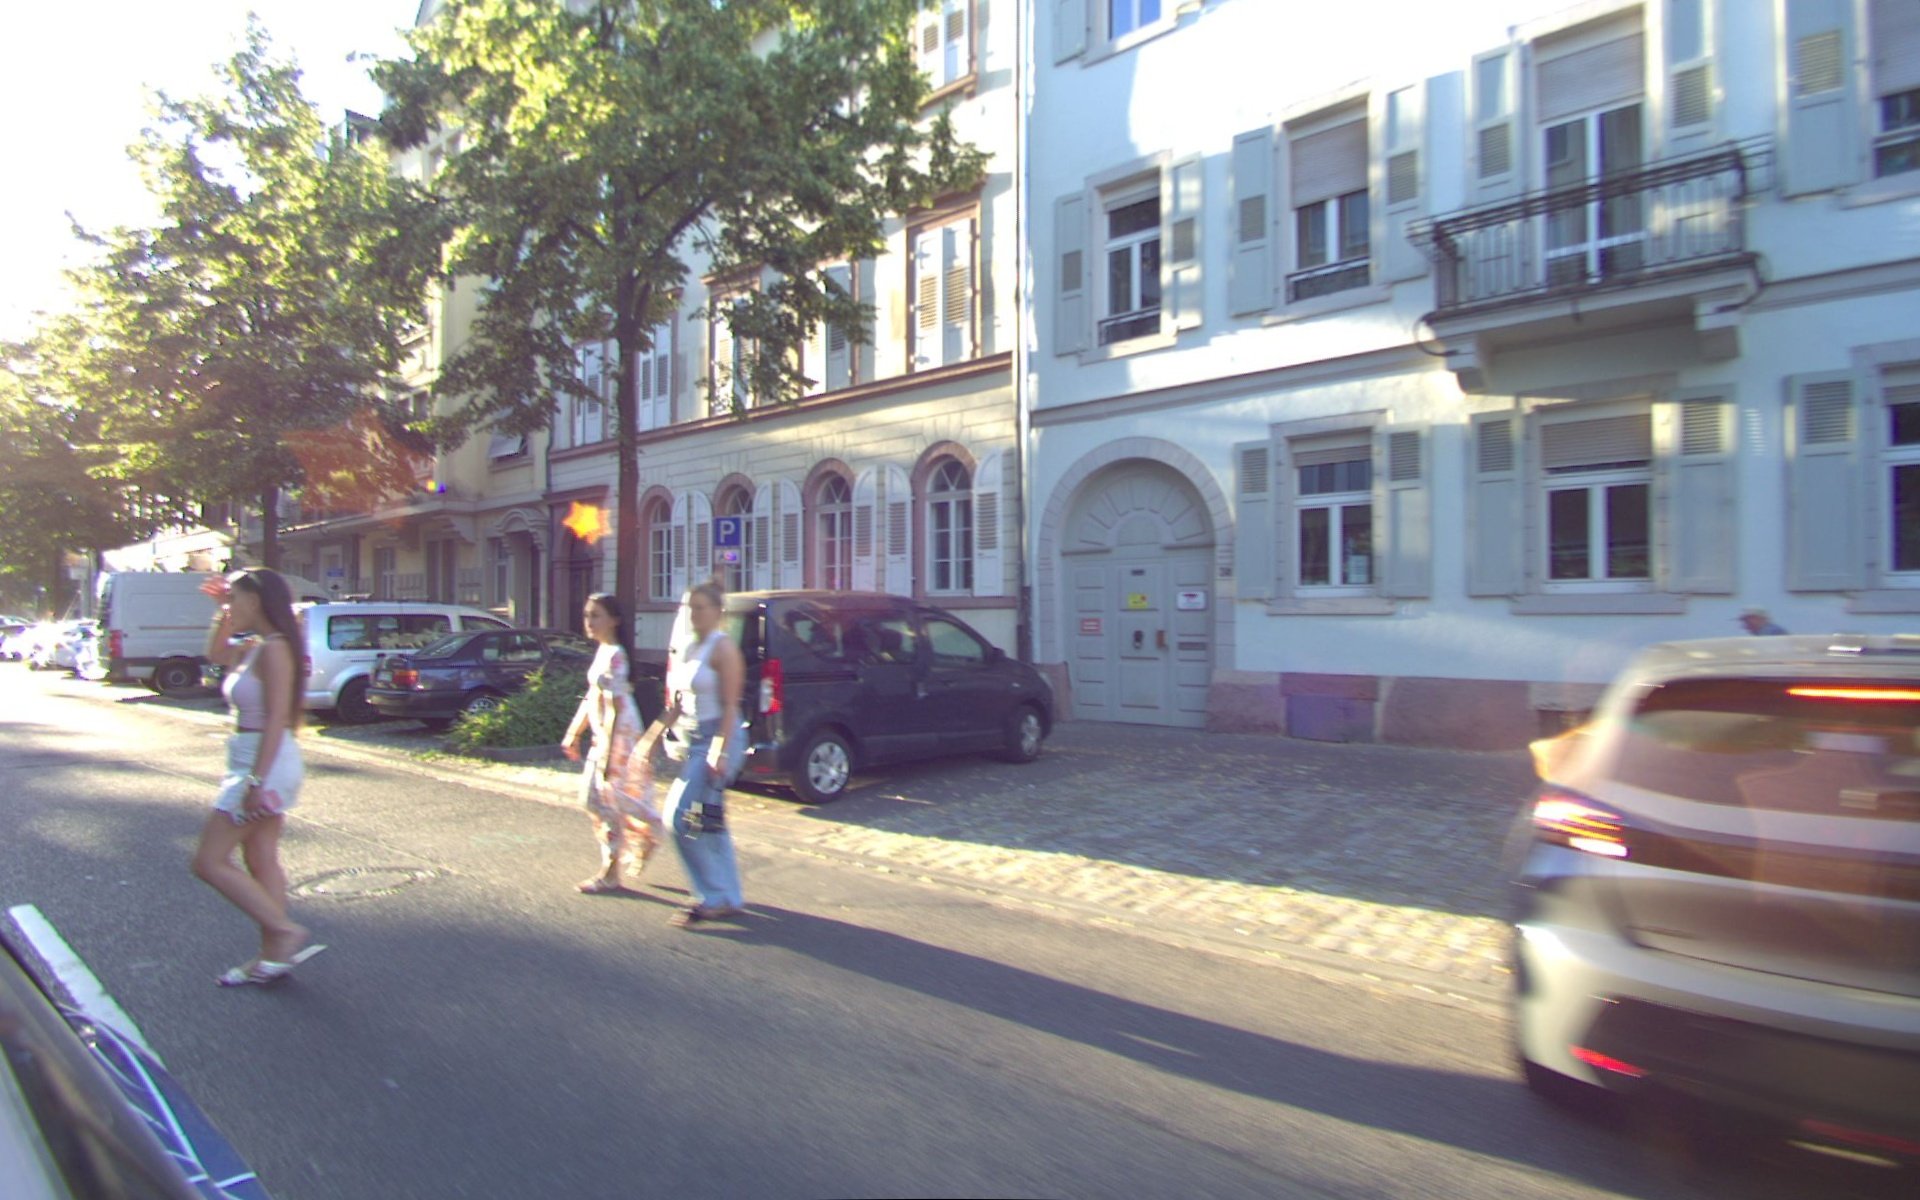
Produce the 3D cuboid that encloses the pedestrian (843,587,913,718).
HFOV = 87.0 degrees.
[{"bbox_3d":[-1.183,0.742,14.561,0.779,1.815,0.655,-1,-2,41],"label":"pedestrian"}]

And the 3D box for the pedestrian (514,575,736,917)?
[{"bbox_3d":[-1.867,0.746,5.683,0.762,1.708,0.912,-2,-2,41],"label":"pedestrian"}]

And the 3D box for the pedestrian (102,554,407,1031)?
[{"bbox_3d":[-2.858,0.682,4.112,0.827,1.651,0.818,-2,-2,41],"label":"pedestrian"}]

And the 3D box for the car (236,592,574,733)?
[{"bbox_3d":[-8.870,0.907,16.471,1.918,1.968,4.451,-2,-1,42],"label":"car"}]

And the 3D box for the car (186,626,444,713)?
[{"bbox_3d":[-12.568,1.272,19.923,1.748,1.414,3.948,0,0,39],"label":"car"}]

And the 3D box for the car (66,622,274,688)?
[{"bbox_3d":[-21.360,1.428,27.496,1.791,1.517,4.170,-2,0,40],"label":"car"}]

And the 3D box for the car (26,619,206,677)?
[{"bbox_3d":[-27.483,1.514,33.062,1.890,1.663,4.193,-2,0,36],"label":"car"}]

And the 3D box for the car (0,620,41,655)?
[{"bbox_3d":[-51.695,1.982,53.379,1.945,1.796,4.510,-1,-1,39],"label":"car"}]

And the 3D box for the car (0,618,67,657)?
[{"bbox_3d":[-46.543,1.830,49.033,2.052,1.825,4.658,-2,0,41],"label":"car"}]

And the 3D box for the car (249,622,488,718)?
[{"bbox_3d":[-10.608,1.184,18.320,1.710,1.478,3.339,-2,0,36],"label":"car"}]

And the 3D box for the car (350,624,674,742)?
[{"bbox_3d":[-6.447,1.106,14.926,1.593,1.450,4.108,-2,-1,41],"label":"car"}]

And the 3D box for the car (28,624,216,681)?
[{"bbox_3d":[-25.544,1.539,30.946,1.968,1.494,4.144,-2,0,39],"label":"car"}]

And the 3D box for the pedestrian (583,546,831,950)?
[{"bbox_3d":[-1.249,0.668,5.061,0.762,1.773,0.912,-2,-3,41],"label":"pedestrian"}]

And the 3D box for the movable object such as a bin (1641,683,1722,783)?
[{"bbox_3d":[6.351,1.154,8.906,0.533,0.803,0.443,-2,-1,40],"label":"movable object such as a bin"}]

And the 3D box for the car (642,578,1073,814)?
[{"bbox_3d":[-0.818,0.786,9.973,1.806,1.820,4.094,-2,-2,42],"label":"car"}]

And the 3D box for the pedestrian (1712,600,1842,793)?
[{"bbox_3d":[6.905,0.777,8.577,0.796,1.533,0.689,-2,-1,40],"label":"pedestrian"}]

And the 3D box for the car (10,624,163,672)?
[{"bbox_3d":[-31.060,1.678,36.080,1.694,1.459,3.878,-2,0,38],"label":"car"}]

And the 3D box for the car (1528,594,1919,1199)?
[{"bbox_3d":[3.348,0.746,3.592,1.684,1.472,4.019,-2,-2,39],"label":"car"}]

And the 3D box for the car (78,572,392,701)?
[{"bbox_3d":[-16.716,0.743,23.641,2.170,2.641,5.601,-2,0,40],"label":"car"}]

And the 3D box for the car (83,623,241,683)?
[{"bbox_3d":[-23.103,1.479,29.339,1.847,1.521,3.370,-2,0,43],"label":"car"}]

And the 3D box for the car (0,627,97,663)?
[{"bbox_3d":[-40.565,1.950,44.066,1.821,1.434,4.338,-2,0,40],"label":"car"}]

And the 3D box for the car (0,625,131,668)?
[{"bbox_3d":[-34.869,1.778,39.424,1.789,1.459,3.744,-2,0,42],"label":"car"}]
